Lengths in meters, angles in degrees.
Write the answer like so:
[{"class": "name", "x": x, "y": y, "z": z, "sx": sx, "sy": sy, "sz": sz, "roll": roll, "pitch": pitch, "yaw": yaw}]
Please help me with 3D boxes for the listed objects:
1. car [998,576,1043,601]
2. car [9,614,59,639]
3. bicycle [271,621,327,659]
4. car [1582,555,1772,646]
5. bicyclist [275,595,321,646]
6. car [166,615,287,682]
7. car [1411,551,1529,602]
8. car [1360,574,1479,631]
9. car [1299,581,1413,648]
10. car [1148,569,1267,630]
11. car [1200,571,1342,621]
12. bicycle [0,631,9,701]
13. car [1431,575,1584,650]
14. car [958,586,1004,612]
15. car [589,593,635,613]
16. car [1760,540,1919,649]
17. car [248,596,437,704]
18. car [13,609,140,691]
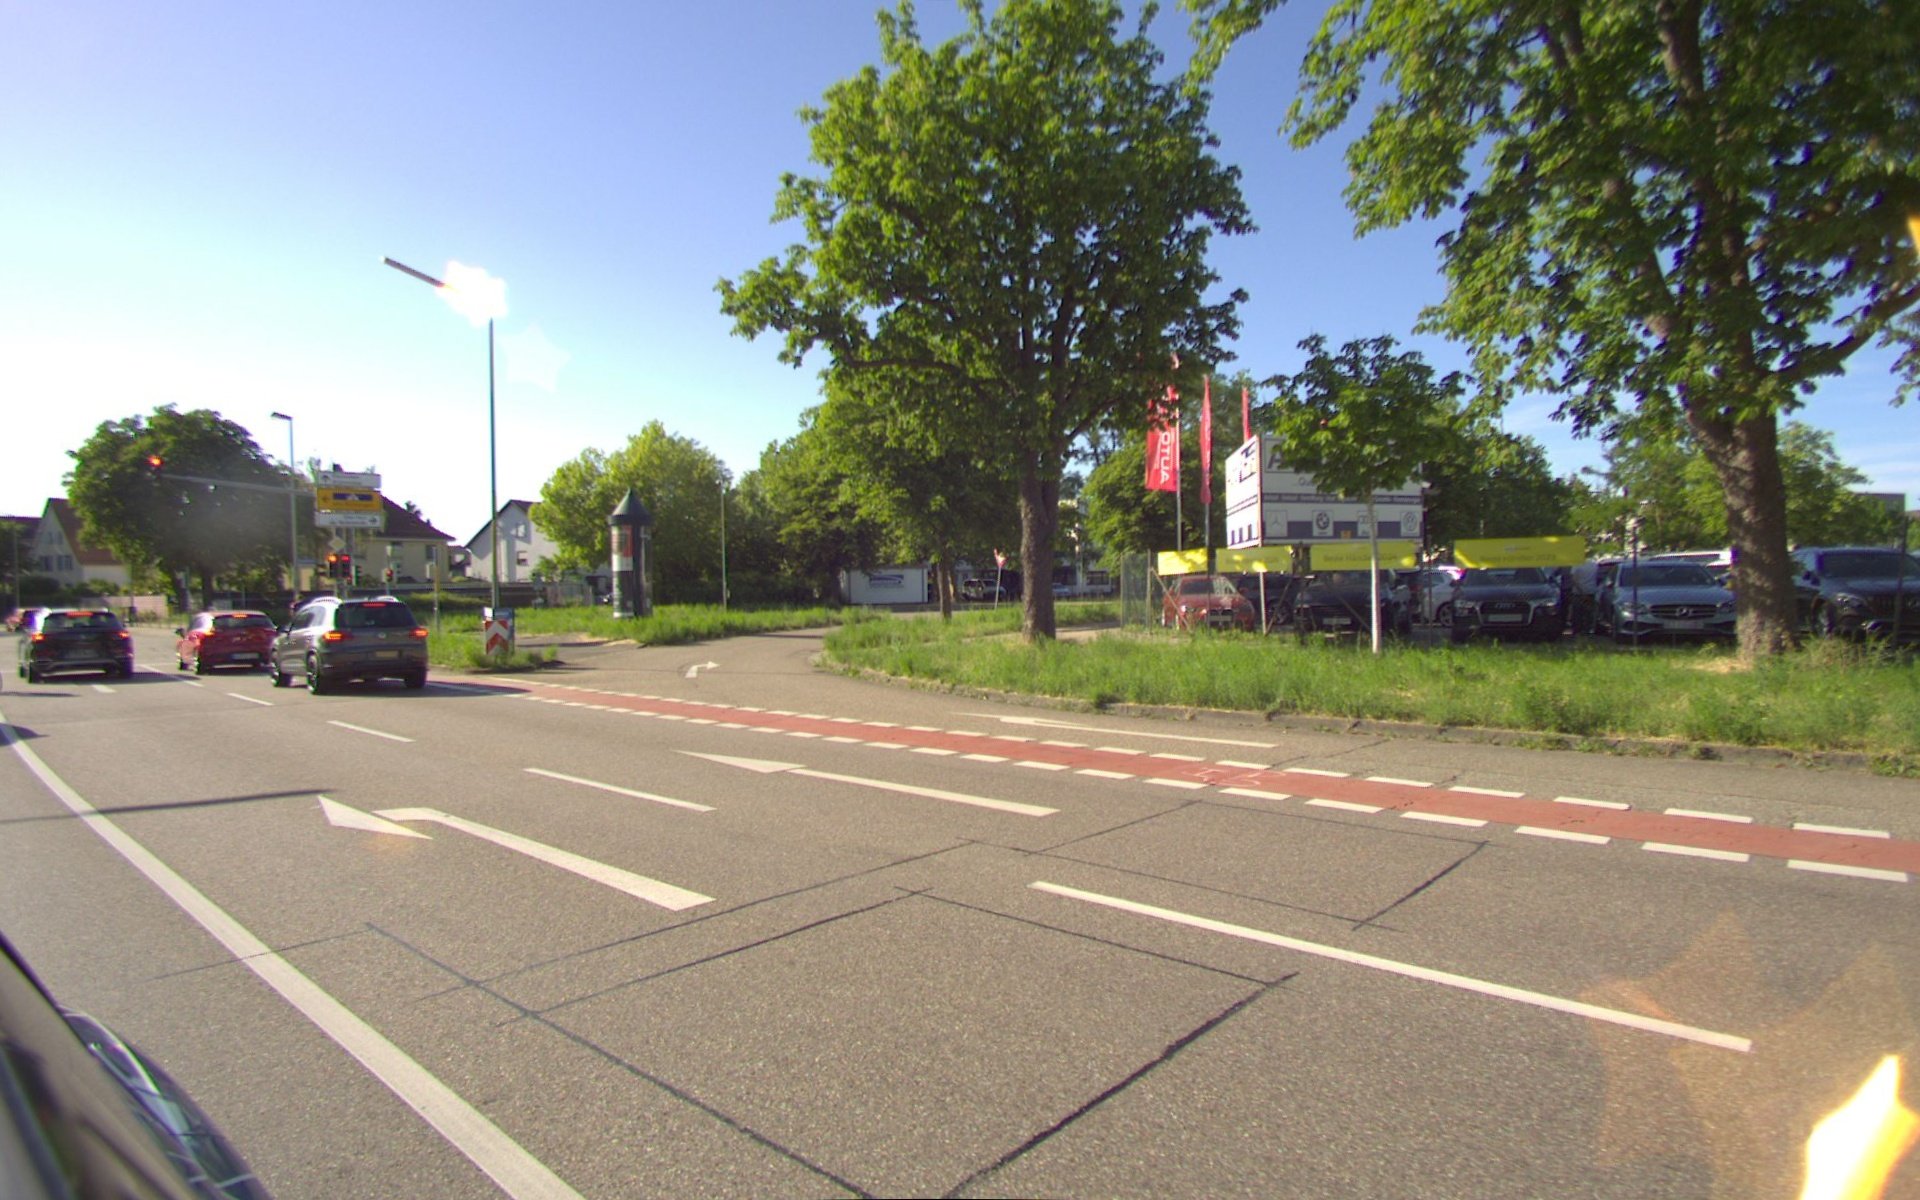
[{"class": "car", "x": 5.207, "y": -0.989, "z": 87.847, "sx": 1.966, "sy": 2.029, "sz": 4.012, "roll": -2, "pitch": 0, "yaw": -30}, {"class": "car", "x": -59.056, "y": 1.686, "z": 64.610, "sx": 1.833, "sy": 1.481, "sz": 4.148, "roll": -1, "pitch": 0, "yaw": -35}, {"class": "bicycle", "x": -19.136, "y": 1.152, "z": 29.283, "sx": 0.926, "sy": 1.024, "sz": 2.198, "roll": -2, "pitch": 0, "yaw": -44}, {"class": "car", "x": 12.769, "y": -0.008, "z": 18.302, "sx": 1.934, "sy": 1.423, "sz": 3.851, "roll": -2, "pitch": 0, "yaw": 23}, {"class": "bicyclist", "x": -19.152, "y": 0.579, "z": 29.271, "sx": 0.922, "sy": 1.412, "sz": 0.823, "roll": -2, "pitch": 0, "yaw": -45}, {"class": "car", "x": -17.729, "y": 1.104, "z": 24.402, "sx": 3.892, "sy": 1.425, "sz": 1.764, "roll": -1, "pitch": 0, "yaw": 45}, {"class": "car", "x": 21.732, "y": -0.974, "z": 43.249, "sx": 1.967, "sy": 2.029, "sz": 4.010, "roll": -2, "pitch": 0, "yaw": -35}, {"class": "car", "x": 13.255, "y": 0.052, "z": 29.119, "sx": 3.941, "sy": 1.517, "sz": 1.834, "roll": -1, "pitch": 0, "yaw": -45}, {"class": "car", "x": 8.388, "y": 0.267, "z": 21.604, "sx": 2.029, "sy": 1.249, "sz": 3.906, "roll": -2, "pitch": 0, "yaw": 21}, {"class": "car", "x": 6.160, "y": -0.030, "z": 25.815, "sx": 2.333, "sy": 1.320, "sz": 5.049, "roll": -2, "pitch": 0, "yaw": 7}, {"class": "car", "x": 9.892, "y": -0.116, "z": 32.404, "sx": 1.719, "sy": 1.473, "sz": 4.003, "roll": -1, "pitch": 0, "yaw": -44}, {"class": "bicycle", "x": -18.592, "y": 1.207, "z": 18.782, "sx": 3.206, "sy": 1.235, "sz": 0.786, "roll": -1, "pitch": 0, "yaw": 36}, {"class": "car", "x": 10.420, "y": 0.203, "z": 19.582, "sx": 2.029, "sy": 1.249, "sz": 3.906, "roll": -2, "pitch": 0, "yaw": 21}, {"class": "car", "x": 1.754, "y": -0.075, "z": 85.512, "sx": 1.966, "sy": 2.029, "sz": 4.012, "roll": -2, "pitch": 0, "yaw": -30}, {"class": "car", "x": -30.009, "y": 0.212, "z": 87.271, "sx": 1.979, "sy": 1.568, "sz": 3.986, "roll": -2, "pitch": 0, "yaw": 11}, {"class": "car", "x": 14.976, "y": -0.131, "z": 16.385, "sx": 1.985, "sy": 1.572, "sz": 3.973, "roll": -2, "pitch": 0, "yaw": 20}, {"class": "car", "x": -11.556, "y": 0.885, "z": 18.816, "sx": 4.269, "sy": 1.749, "sz": 1.833, "roll": -2, "pitch": 0, "yaw": 42}, {"class": "car", "x": -19.640, "y": 1.049, "z": 22.438, "sx": 1.891, "sy": 1.611, "sz": 4.003, "roll": -1, "pitch": 0, "yaw": -44}]
